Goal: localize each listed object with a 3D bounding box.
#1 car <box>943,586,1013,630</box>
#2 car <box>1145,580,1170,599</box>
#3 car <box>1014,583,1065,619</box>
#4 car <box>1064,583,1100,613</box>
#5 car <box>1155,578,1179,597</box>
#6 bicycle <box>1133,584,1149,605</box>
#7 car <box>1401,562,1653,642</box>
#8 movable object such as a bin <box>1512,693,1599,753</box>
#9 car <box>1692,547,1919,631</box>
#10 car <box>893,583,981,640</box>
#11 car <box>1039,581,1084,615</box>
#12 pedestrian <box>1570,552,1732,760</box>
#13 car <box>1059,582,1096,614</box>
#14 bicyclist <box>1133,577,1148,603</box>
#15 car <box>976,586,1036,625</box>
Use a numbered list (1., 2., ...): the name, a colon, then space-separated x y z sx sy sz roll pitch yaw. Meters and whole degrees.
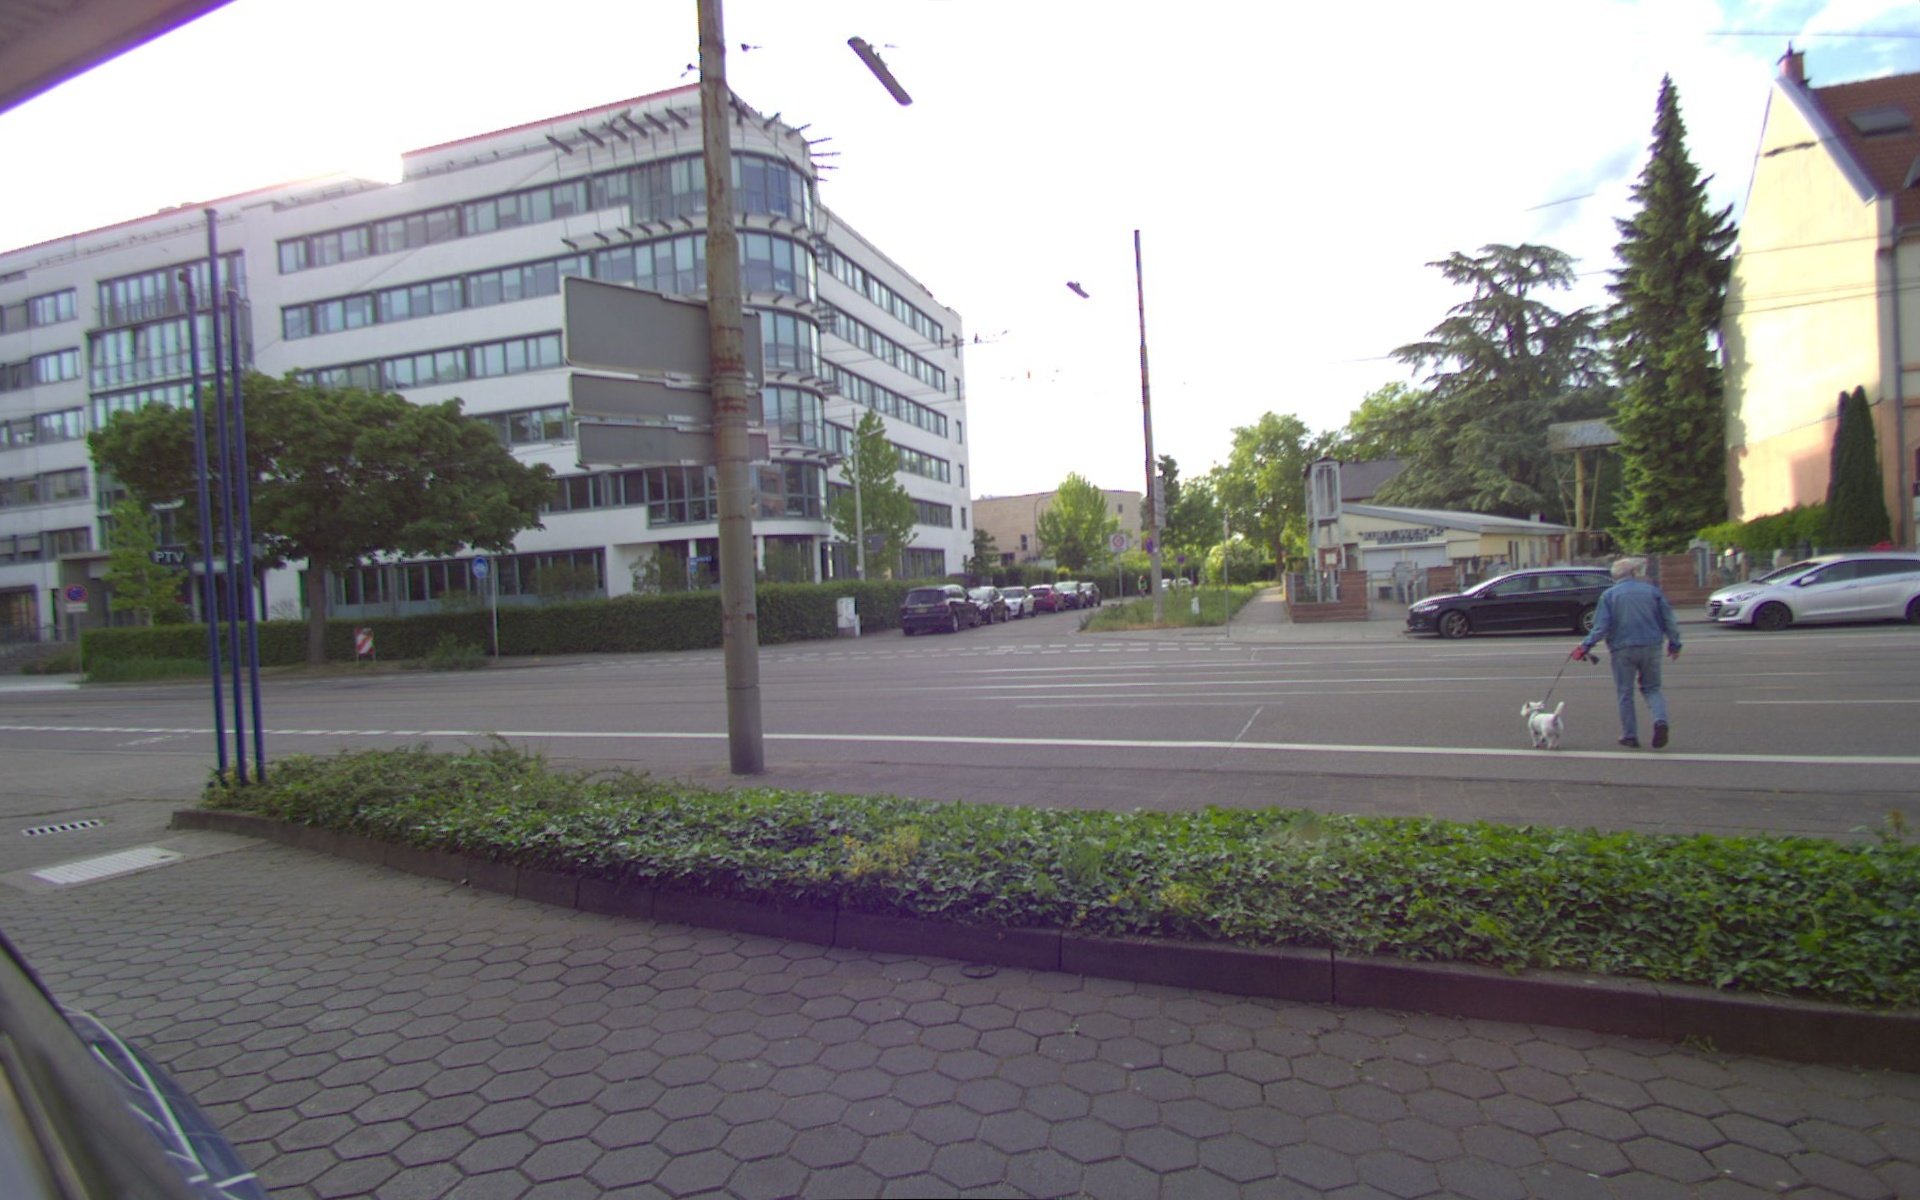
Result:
1. car: 0.793 0.289 40.969 1.929 1.551 4.274 -3 0 13
2. car: 19.697 -1.072 100.786 1.849 1.748 4.247 -3 0 19
3. car: 4.174 0.024 52.486 1.929 1.650 4.274 -3 0 13
4. car: 8.090 -0.167 66.750 1.845 1.748 4.256 -3 0 13
5. car: 21.688 -1.321 106.156 1.849 1.748 4.246 -3 0 19
6. bicycle: 12.324 -0.392 68.865 0.858 1.320 1.911 -3 3 13
7. car: 12.910 0.050 23.437 4.742 1.511 2.001 -3 1 21
8. movable object such as a bin: 5.392 1.110 9.197 0.476 0.424 0.677 -3 2 13
9. car: 18.421 -0.250 21.376 4.424 1.494 1.713 -3 1 21
10. car: -0.727 0.357 35.410 1.994 1.704 4.274 -3 1 13
11. car: 5.833 -0.148 57.715 1.929 1.748 4.512 -3 0 13
12. pedestrian: 6.060 0.469 8.949 0.999 1.680 0.962 -4 2 29
13. car: 7.287 -0.157 62.489 1.731 1.748 4.030 -3 0 13
14. bicyclist: 12.282 -0.687 68.769 0.858 1.617 1.024 -3 3 14
15. car: 2.141 0.214 45.780 1.929 1.530 4.274 -3 0 13
